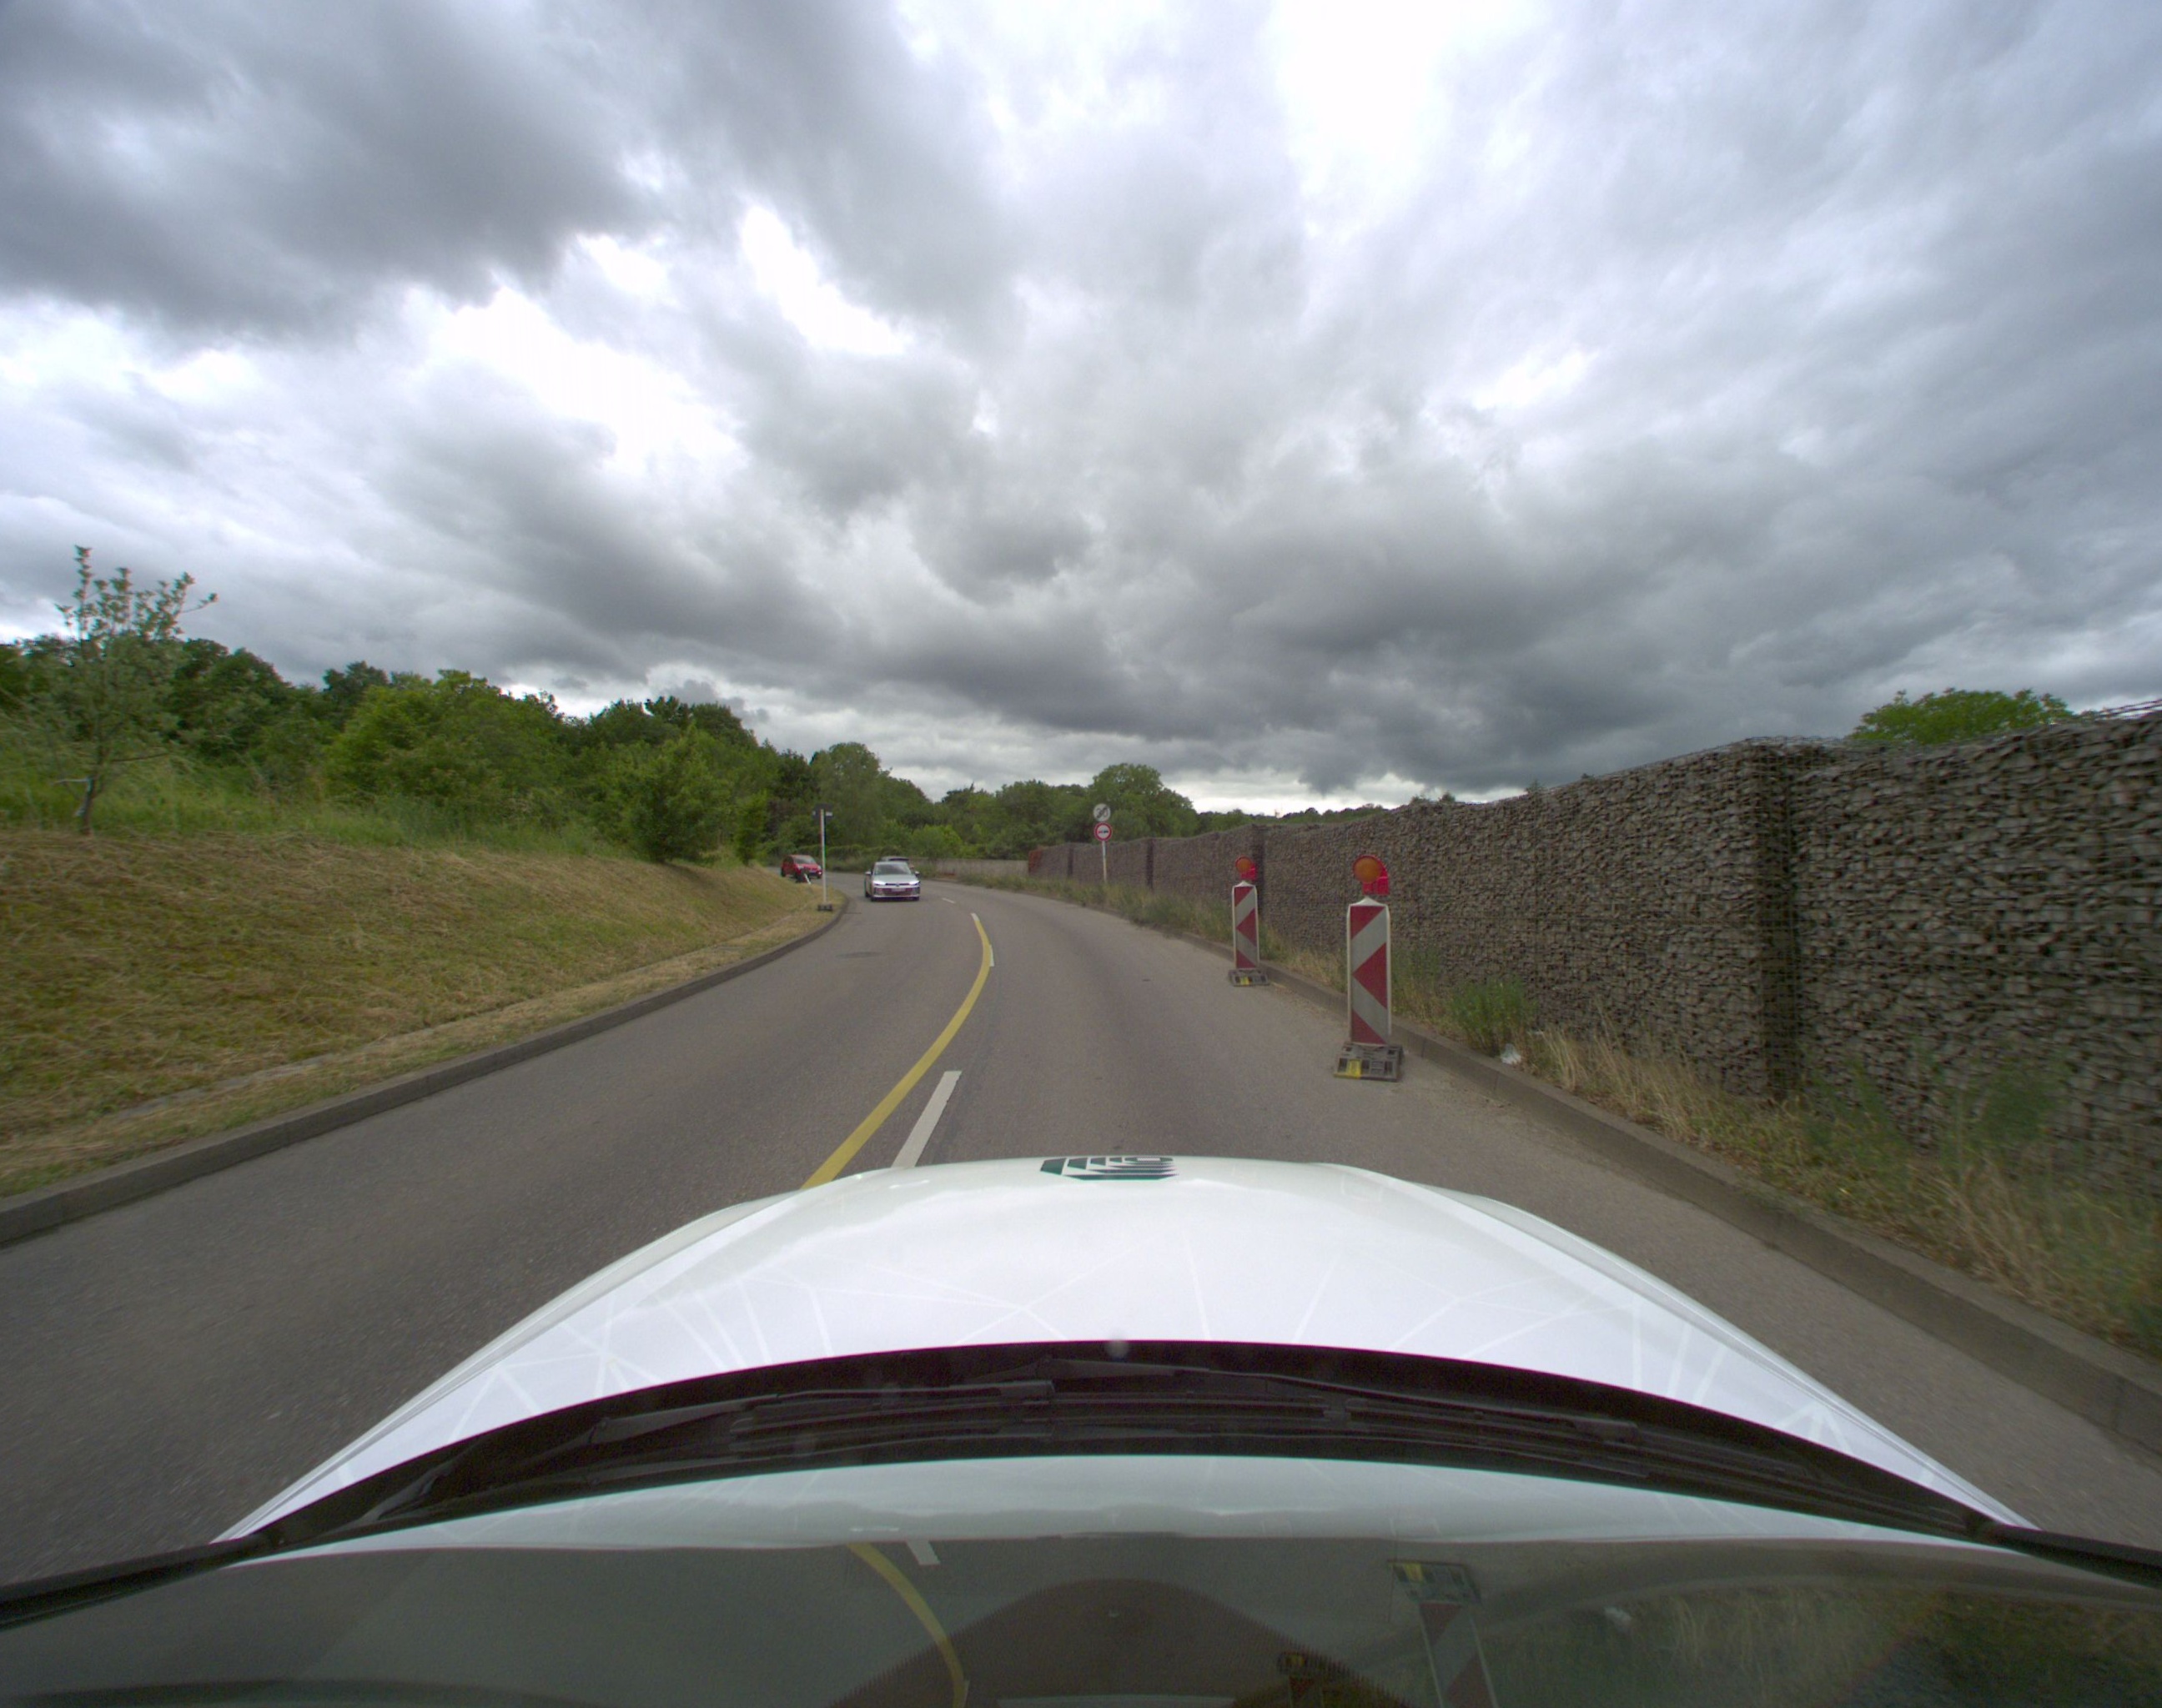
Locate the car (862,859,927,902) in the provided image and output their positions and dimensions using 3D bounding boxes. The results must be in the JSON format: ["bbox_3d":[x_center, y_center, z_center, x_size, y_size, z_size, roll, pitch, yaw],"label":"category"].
[{"bbox_3d":[-7.421,0.973,32.123,1.888,1.477,4.569,-2,1,-21],"label":"car"}]

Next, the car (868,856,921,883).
[{"bbox_3d":[-10.950,0.861,47.569,1.852,1.483,3.960,-1,1,-32],"label":"car"}]

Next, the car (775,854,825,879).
[{"bbox_3d":[-17.906,0.834,51.855,1.755,1.417,3.710,8,-6,-38],"label":"car"}]
